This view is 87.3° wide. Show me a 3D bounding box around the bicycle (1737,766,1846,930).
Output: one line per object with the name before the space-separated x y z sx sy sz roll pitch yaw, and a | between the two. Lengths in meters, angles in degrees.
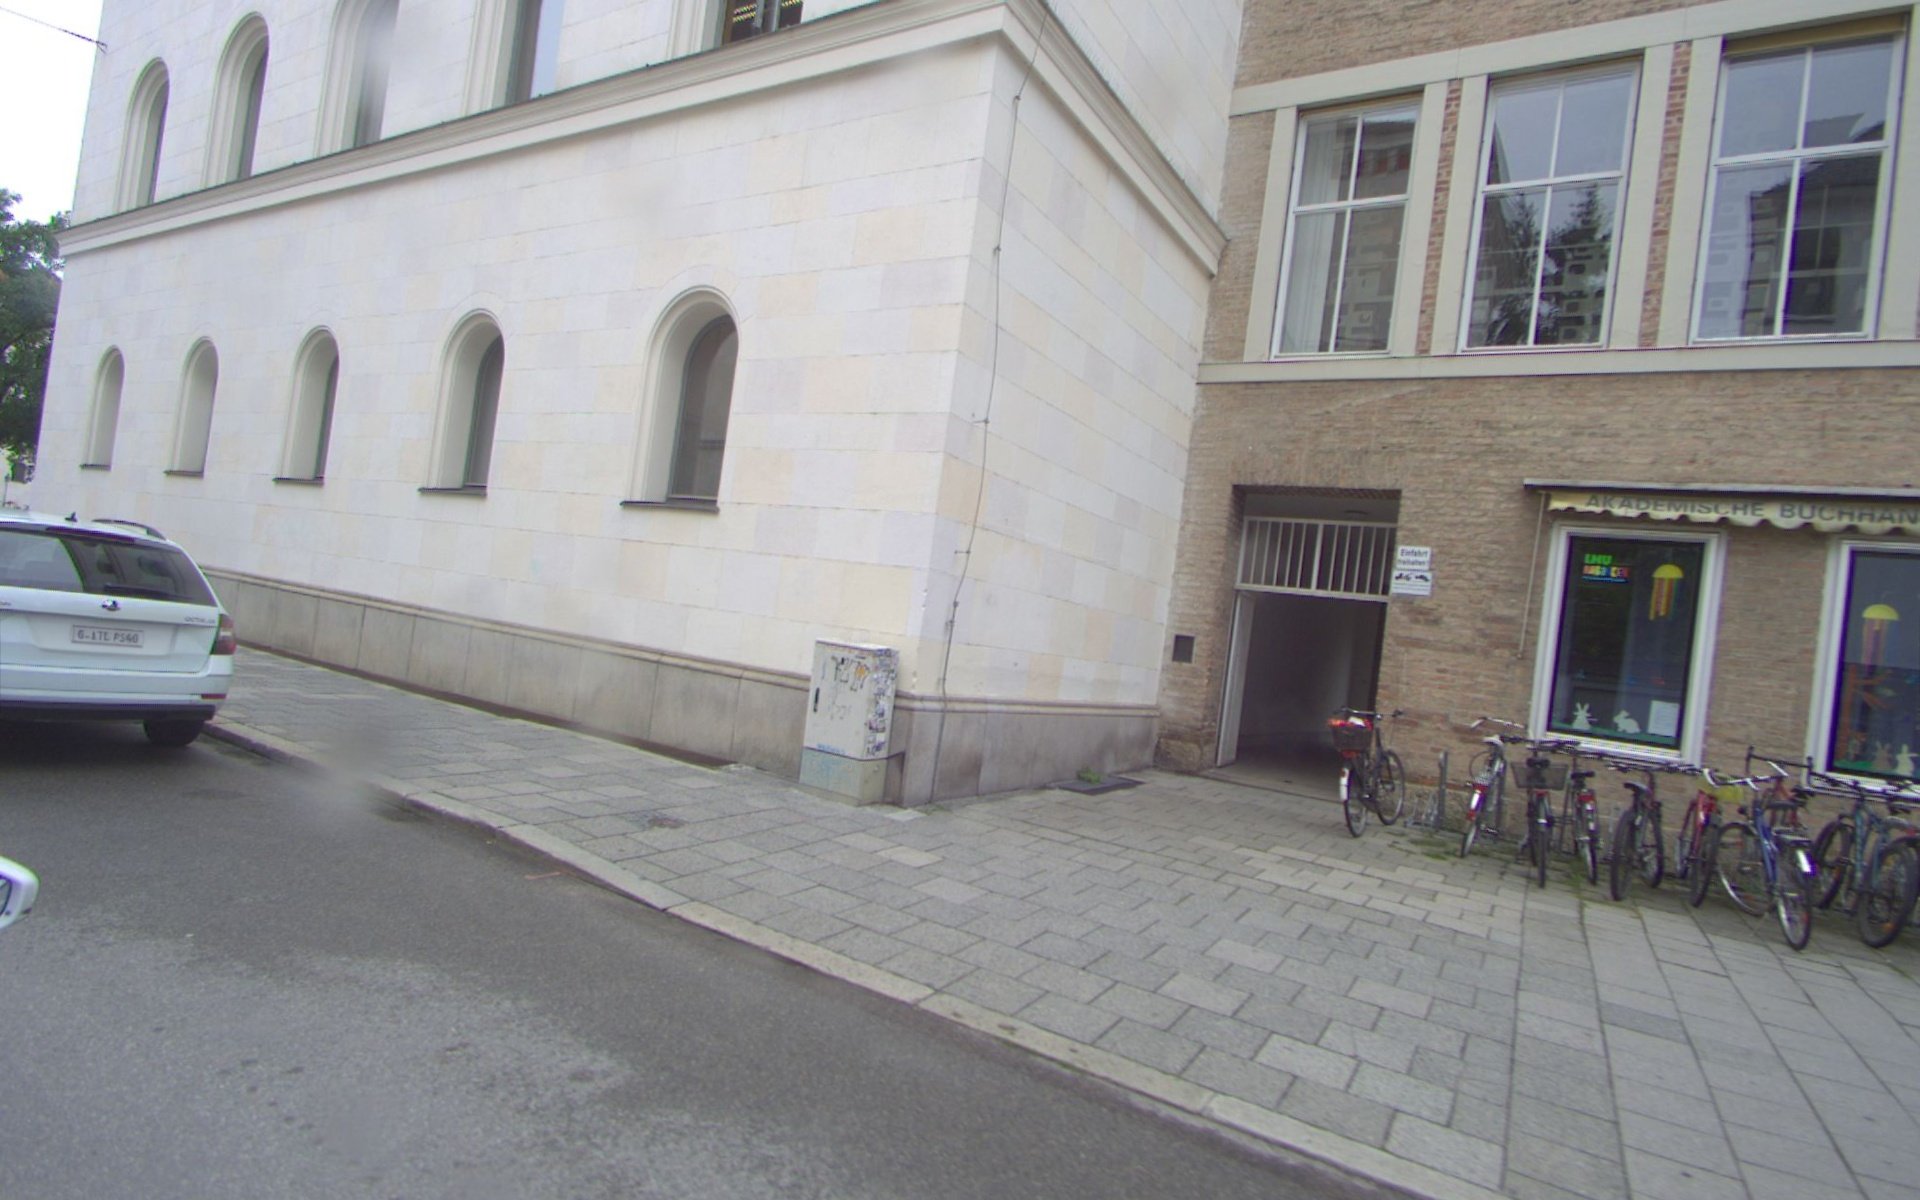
bicycle | 6.649 1.937 8.090 0.342 1.054 1.431 7 0 30

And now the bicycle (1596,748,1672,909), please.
bicycle | 5.382 1.755 8.000 0.343 1.054 1.630 7 0 36

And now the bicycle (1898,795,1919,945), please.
bicycle | 7.213 2.019 7.226 0.343 1.054 1.631 7 0 35

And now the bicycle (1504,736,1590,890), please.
bicycle | 4.810 1.680 8.202 0.343 1.054 1.630 7 0 36

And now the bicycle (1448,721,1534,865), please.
bicycle | 4.760 1.667 8.979 0.343 1.108 1.630 7 0 36

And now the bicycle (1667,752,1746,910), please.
bicycle | 6.099 1.835 8.257 0.343 1.054 1.631 7 0 35

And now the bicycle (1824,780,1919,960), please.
bicycle | 6.832 1.943 7.469 0.343 1.054 1.631 7 0 35

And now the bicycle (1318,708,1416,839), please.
bicycle | 3.746 1.536 9.187 0.343 1.054 1.630 7 0 36

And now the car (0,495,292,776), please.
car | -6.684 0.032 6.965 4.243 1.494 1.791 7 -1 33

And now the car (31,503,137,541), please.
car | -51.901 -4.621 59.692 1.774 1.434 4.364 7 -2 33

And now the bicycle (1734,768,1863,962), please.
bicycle | 5.726 1.757 6.926 0.342 1.054 1.431 7 0 30
